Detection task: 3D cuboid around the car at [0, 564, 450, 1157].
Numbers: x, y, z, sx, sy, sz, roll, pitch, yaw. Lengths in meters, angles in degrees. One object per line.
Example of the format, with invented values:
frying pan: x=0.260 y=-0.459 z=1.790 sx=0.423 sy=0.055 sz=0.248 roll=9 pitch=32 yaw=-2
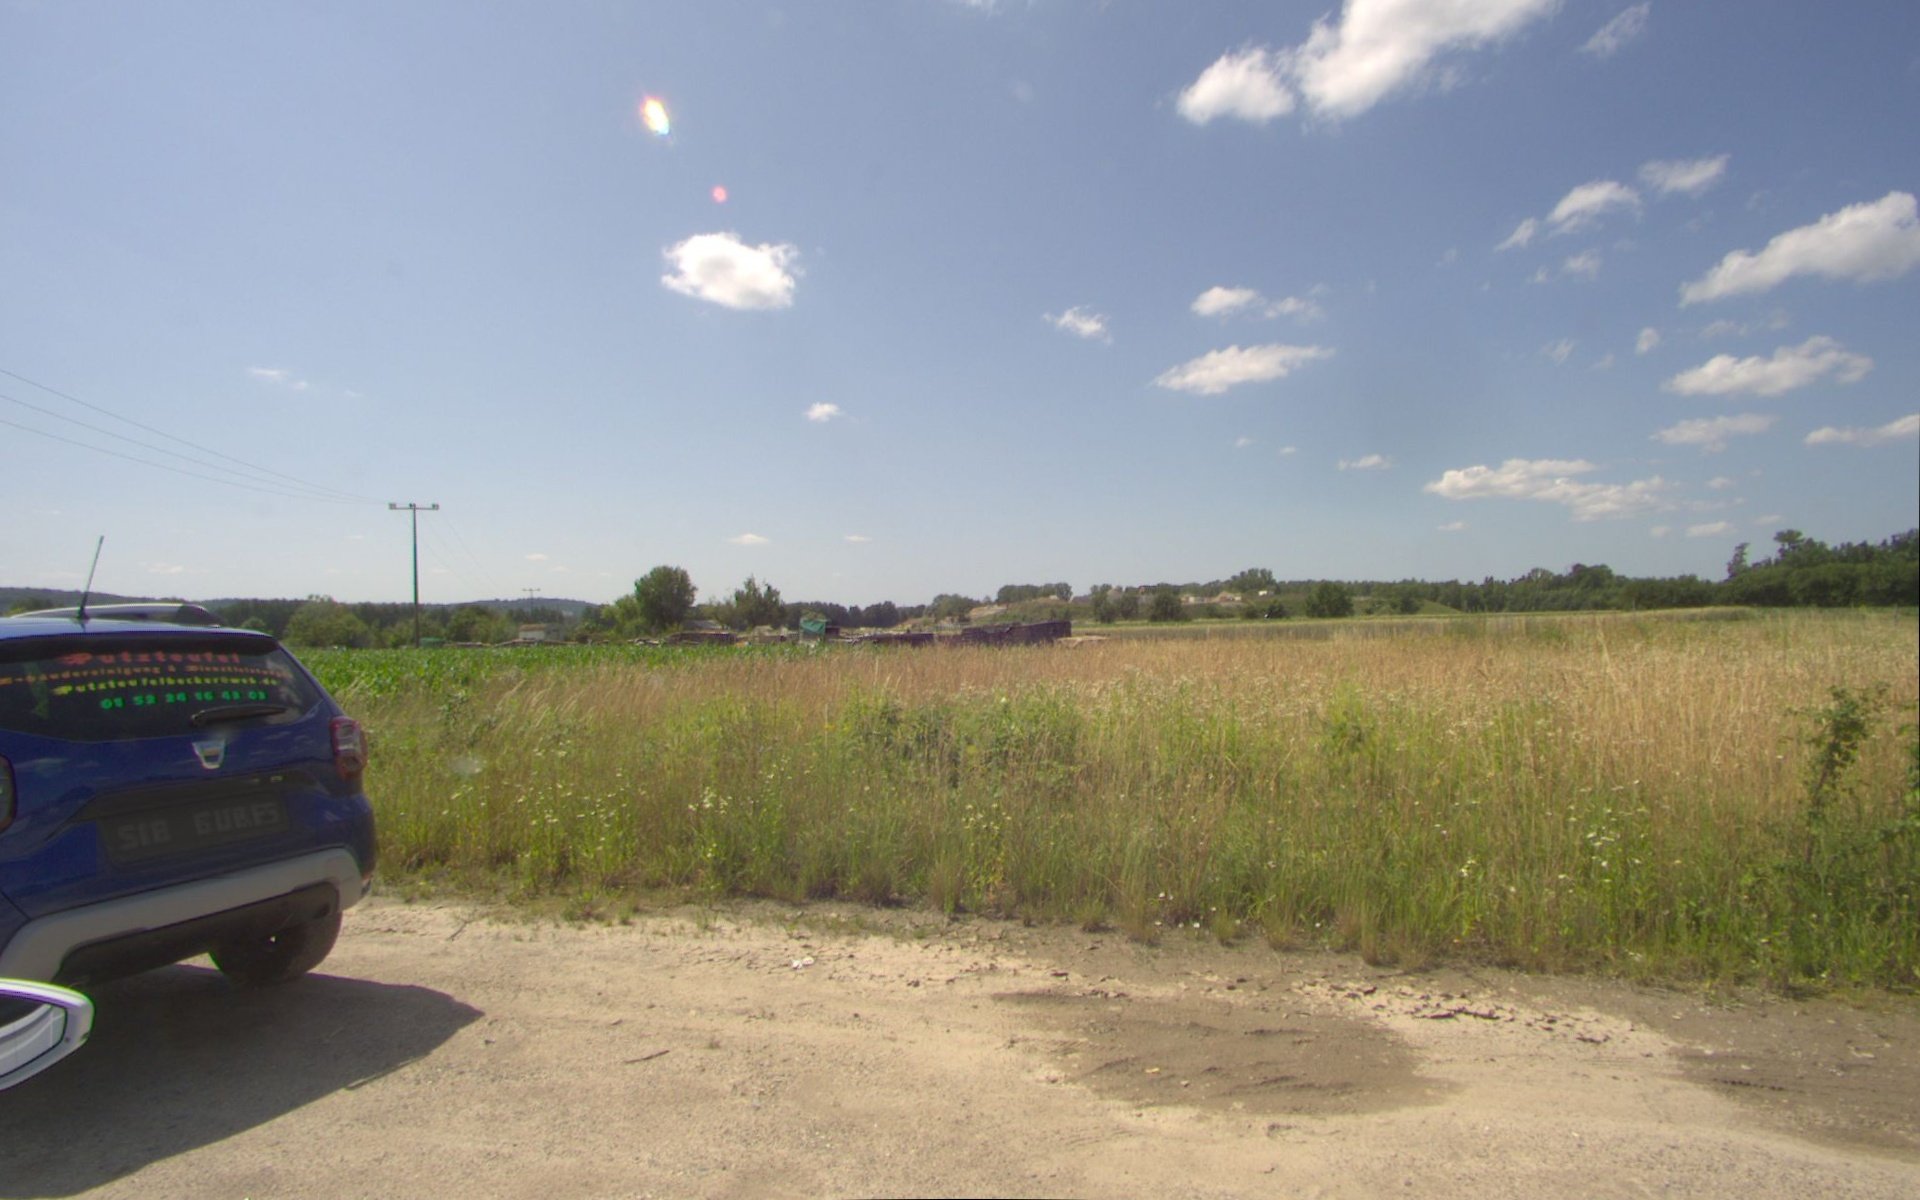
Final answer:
car: x=-4.616 y=0.854 z=4.196 sx=4.380 sy=1.682 sz=1.862 roll=-3 pitch=-2 yaw=18
